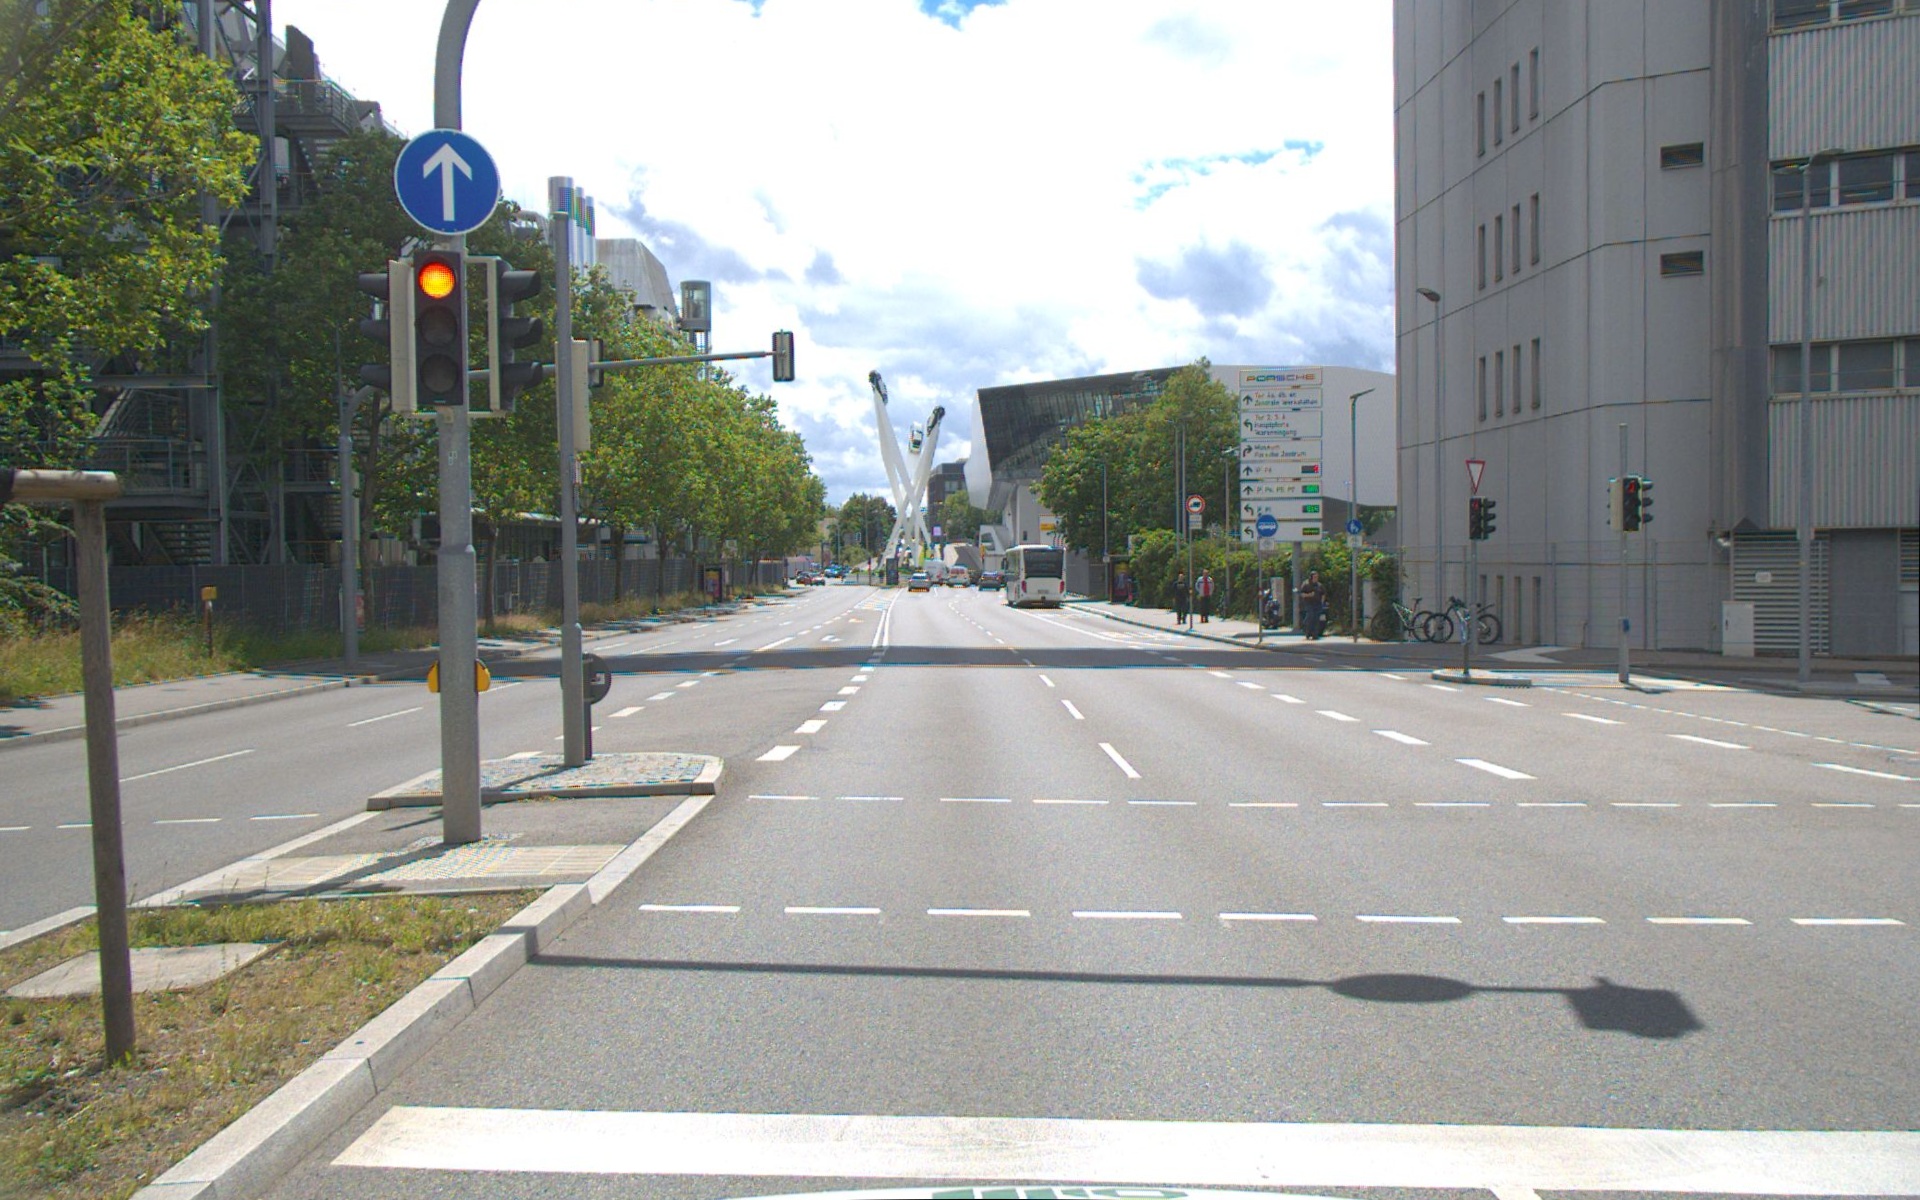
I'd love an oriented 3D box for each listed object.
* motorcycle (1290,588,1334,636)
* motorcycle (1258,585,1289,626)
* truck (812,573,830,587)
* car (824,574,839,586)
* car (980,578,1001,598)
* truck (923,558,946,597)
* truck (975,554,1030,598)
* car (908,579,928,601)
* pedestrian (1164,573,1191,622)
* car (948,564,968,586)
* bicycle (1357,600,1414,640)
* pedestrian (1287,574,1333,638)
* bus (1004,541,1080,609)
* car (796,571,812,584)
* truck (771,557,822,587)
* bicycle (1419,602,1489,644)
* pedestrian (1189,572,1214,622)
[{"bbox_3d":[9.604,0.320,45.182,0.692,1.224,2.024,-2,1,-1],"label":"motorcycle"},{"bbox_3d":[10.048,0.164,53.048,0.562,1.224,2.024,-2,1,-1],"label":"motorcycle"},{"bbox_3d":[-16.112,-2.346,191.428,1.556,1.564,3.666,0,0,-13],"label":"truck"},{"bbox_3d":[-17.984,-2.793,232.161,1.782,1.564,3.678,-2,0,-1],"label":"car"},{"bbox_3d":[2.666,-1.080,146.084,1.703,1.772,3.691,0,0,-1],"label":"car"},{"bbox_3d":[-2.601,-2.333,172.237,2.343,3.965,6.176,0,0,-1],"label":"truck"},{"bbox_3d":[4.522,-2.479,171.890,3.379,4.468,9.426,0,0,17],"label":"truck"},{"bbox_3d":[-3.540,-0.853,139.707,1.703,1.772,3.691,0,0,-1],"label":"car"},{"bbox_3d":[7.710,-0.093,58.670,0.803,1.737,0.881,0,0,-1],"label":"pedestrian"},{"bbox_3d":[-0.148,-2.488,165.339,1.952,2.049,4.000,1,-1,0],"label":"car"},{"bbox_3d":[10.603,0.495,41.275,0.391,0.953,1.917,0,0,-19],"label":"bicycle"},{"bbox_3d":[9.138,0.151,43.126,0.834,1.653,0.951,0,0,40],"label":"pedestrian"},{"bbox_3d":[4.478,-1.351,92.837,3.383,3.605,10.602,0,0,-2],"label":"bus"},{"bbox_3d":[-20.366,-2.922,215.760,1.782,1.564,3.678,-2,0,-1],"label":"car"},{"bbox_3d":[-23.186,-3.906,234.475,7.005,3.962,2.453,2,-1,-38],"label":"truck"},{"bbox_3d":[11.638,0.531,39.004,0.392,0.953,1.912,0,0,-26],"label":"bicycle"},{"bbox_3d":[8.590,-0.117,58.878,0.803,1.772,0.637,0,0,-1],"label":"pedestrian"}]
